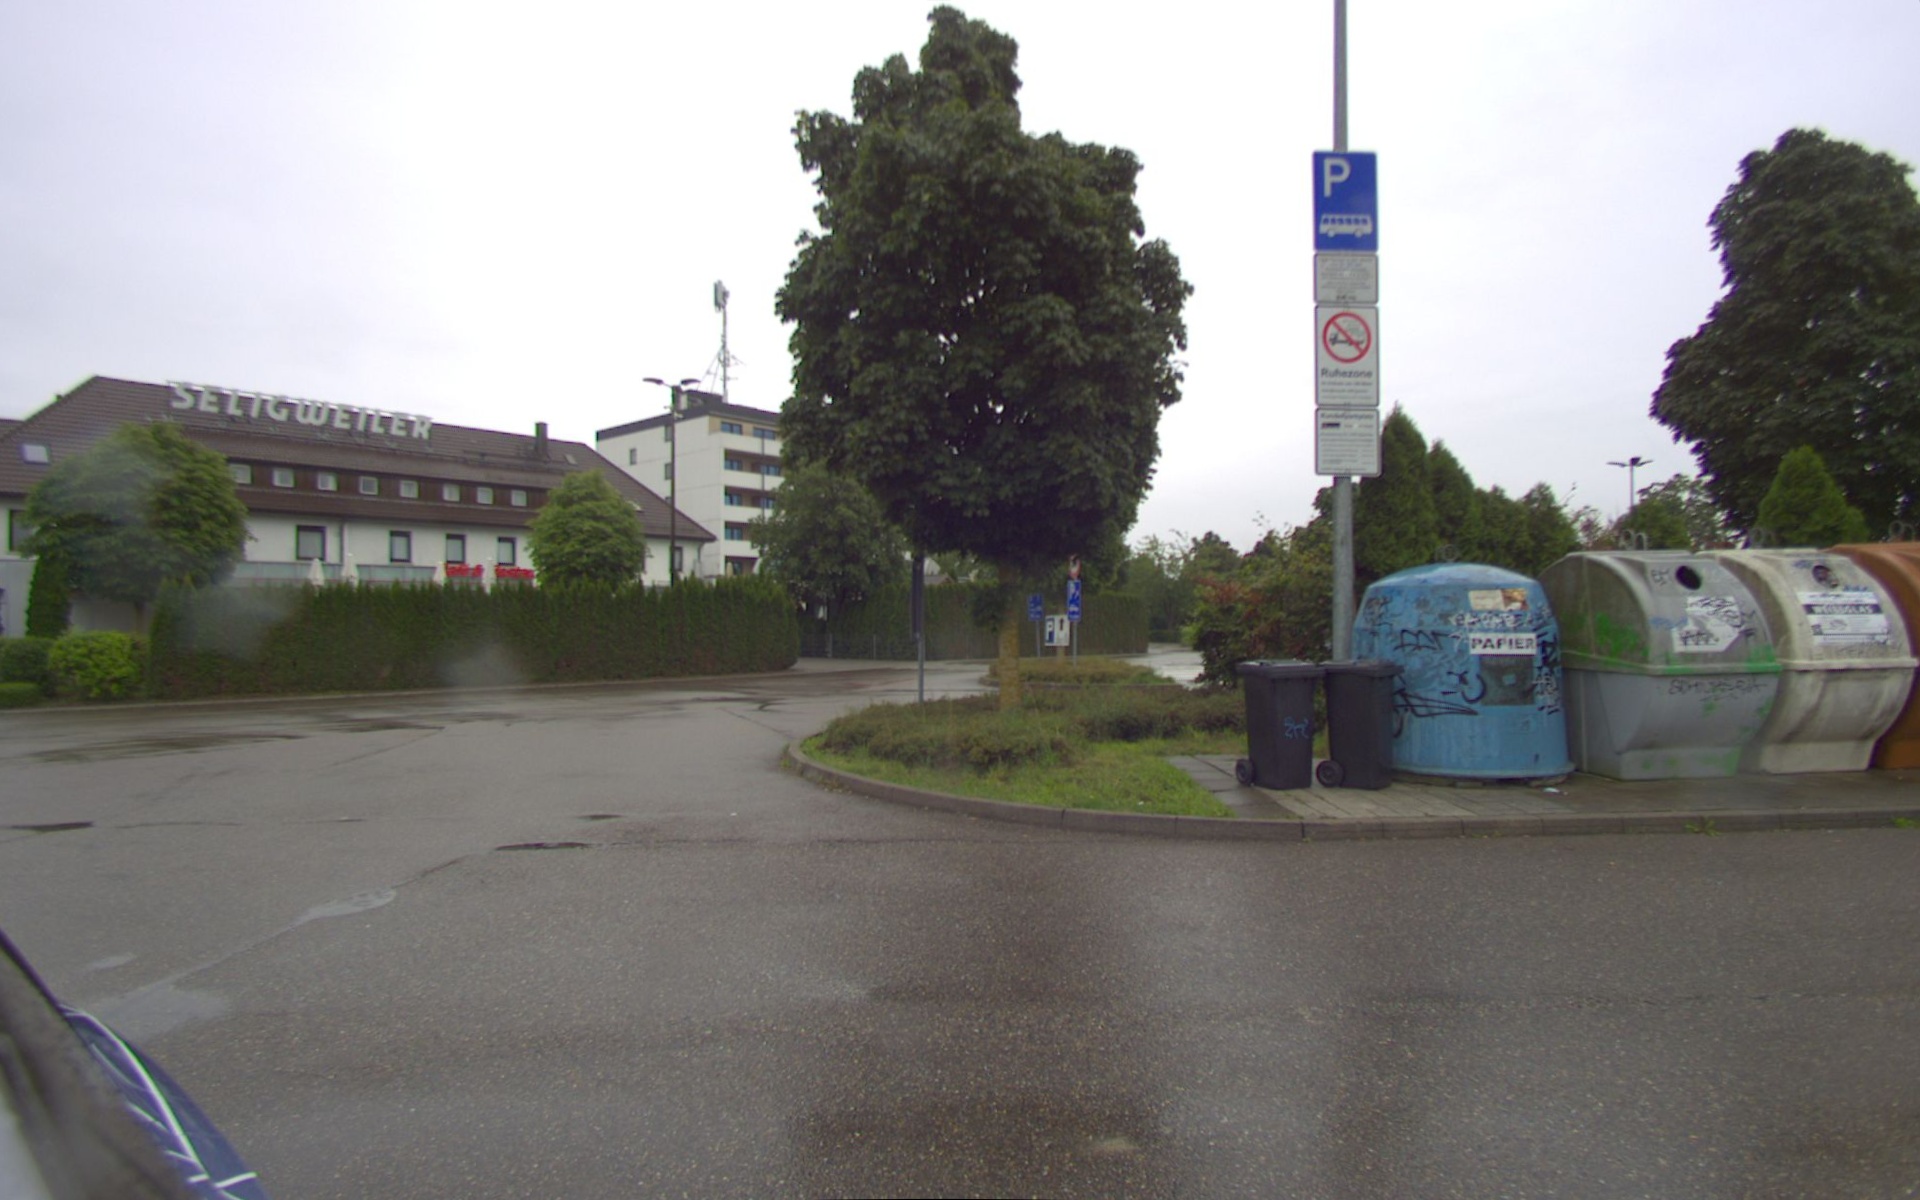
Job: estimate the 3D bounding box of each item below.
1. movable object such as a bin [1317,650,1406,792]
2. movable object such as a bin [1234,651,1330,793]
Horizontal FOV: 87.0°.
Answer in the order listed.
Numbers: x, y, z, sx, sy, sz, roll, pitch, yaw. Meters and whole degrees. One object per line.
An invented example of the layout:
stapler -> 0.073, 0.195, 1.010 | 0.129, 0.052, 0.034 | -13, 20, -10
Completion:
movable object such as a bin -> 2.889, 0.850, 7.285 | 0.450, 0.956, 0.400 | -2, -1, 43
movable object such as a bin -> 2.328, 0.863, 7.329 | 0.427, 0.956, 0.475 | -2, 0, -23
